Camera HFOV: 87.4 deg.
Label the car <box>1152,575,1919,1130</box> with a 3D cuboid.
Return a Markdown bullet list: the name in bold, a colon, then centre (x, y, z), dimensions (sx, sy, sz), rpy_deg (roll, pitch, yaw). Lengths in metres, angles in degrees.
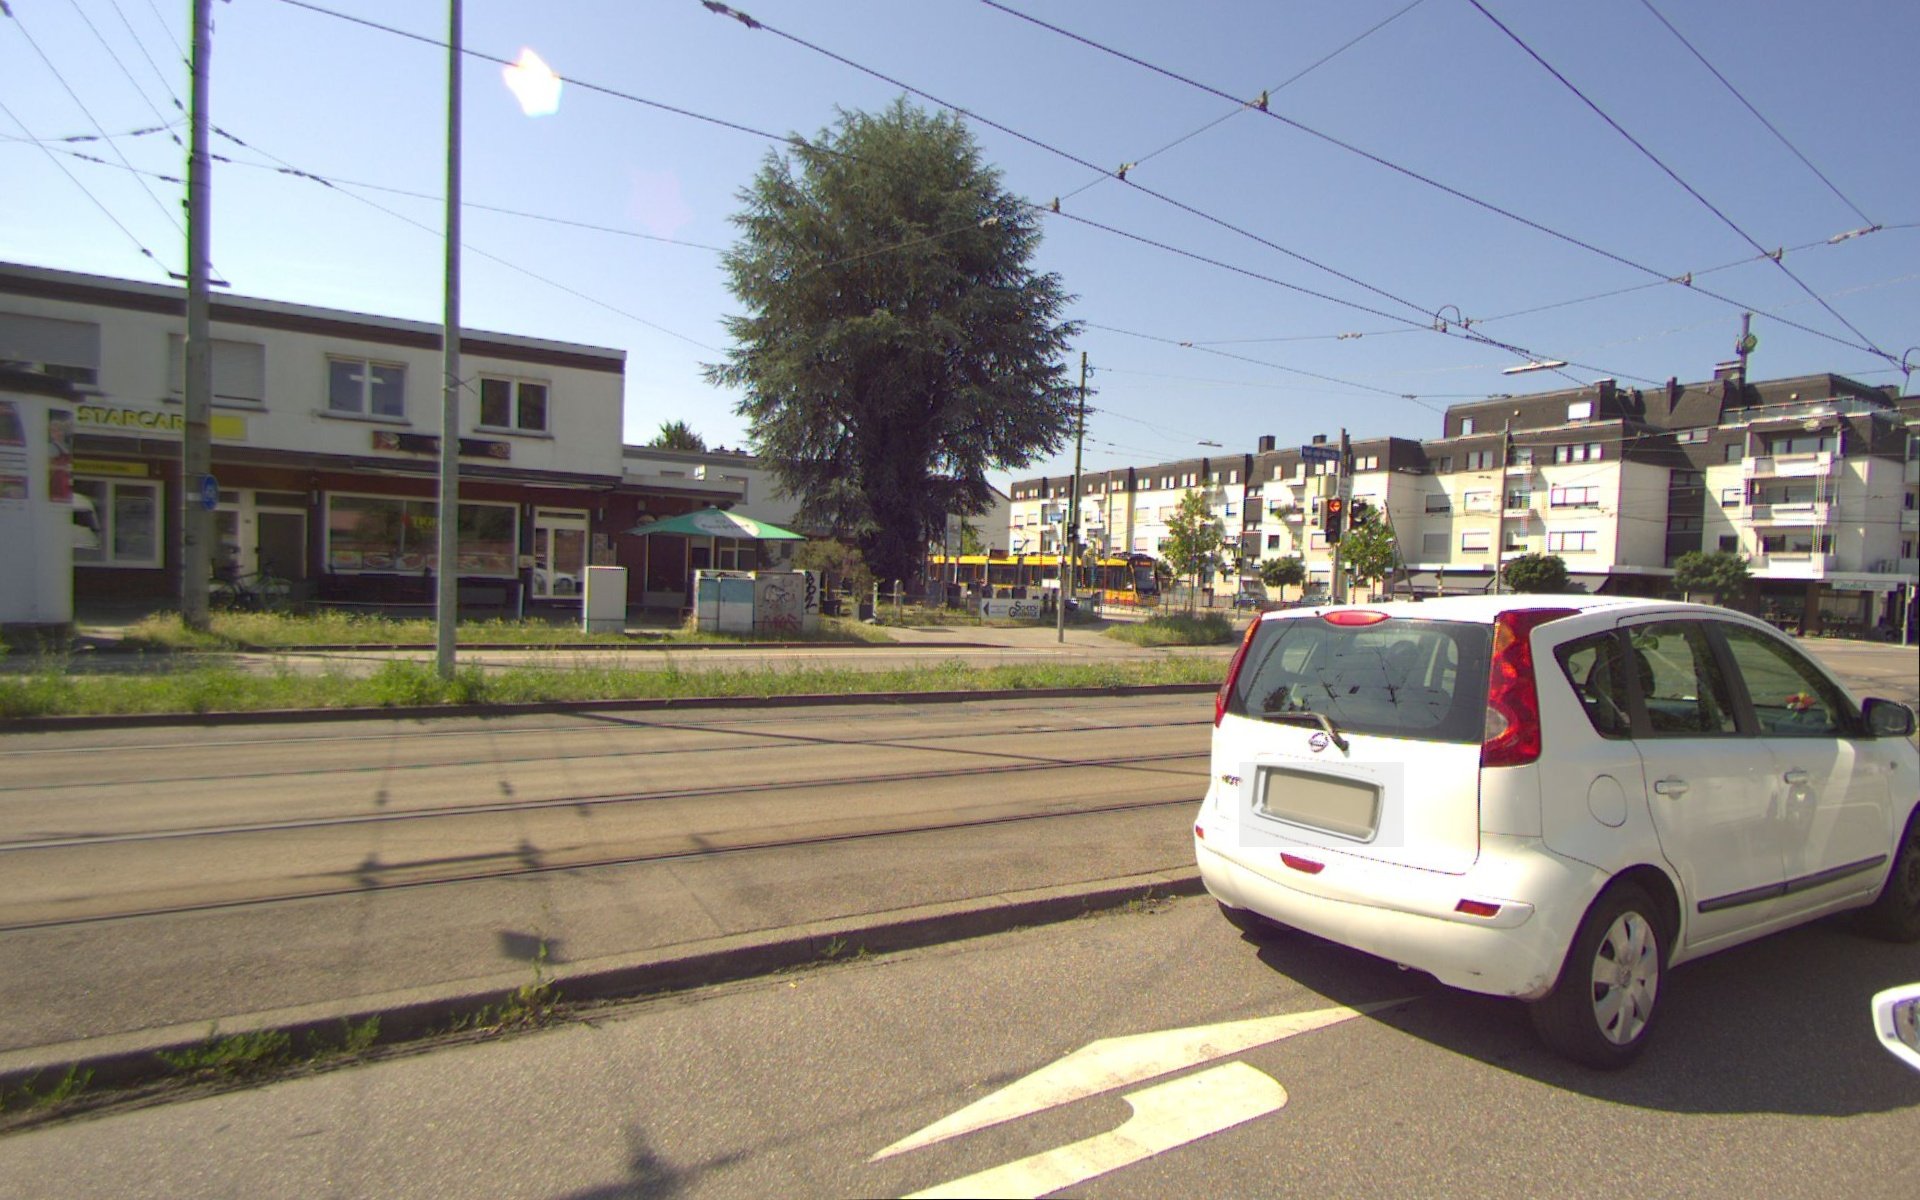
- **car**: centre (2.845, 0.730, 4.541), dimensions (3.759, 1.587, 1.634), rpy_deg (0, 0, -31)

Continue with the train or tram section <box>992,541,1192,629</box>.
- **train or tram section**: centre (8.528, -0.895, 69.383), dimensions (4.681, 5.217, 16.121), rpy_deg (2, -1, -30)

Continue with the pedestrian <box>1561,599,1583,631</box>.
- **pedestrian**: centre (34.578, 0.870, 56.739), dimensions (0.957, 1.766, 0.863), rpy_deg (1, -1, 29)

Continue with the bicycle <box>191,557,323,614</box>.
- **bicycle**: centre (-15.517, -0.292, 22.266), dimensions (2.306, 1.167, 0.783), rpy_deg (2, -1, -30)

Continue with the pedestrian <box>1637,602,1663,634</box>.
- **pedestrian**: centre (38.359, 0.997, 55.878), dimensions (0.956, 1.766, 0.864), rpy_deg (2, -1, 20)

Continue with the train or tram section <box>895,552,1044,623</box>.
- **train or tram section**: centre (0.372, -0.928, 83.283), dimensions (4.681, 5.217, 16.121), rpy_deg (2, -1, -30)
